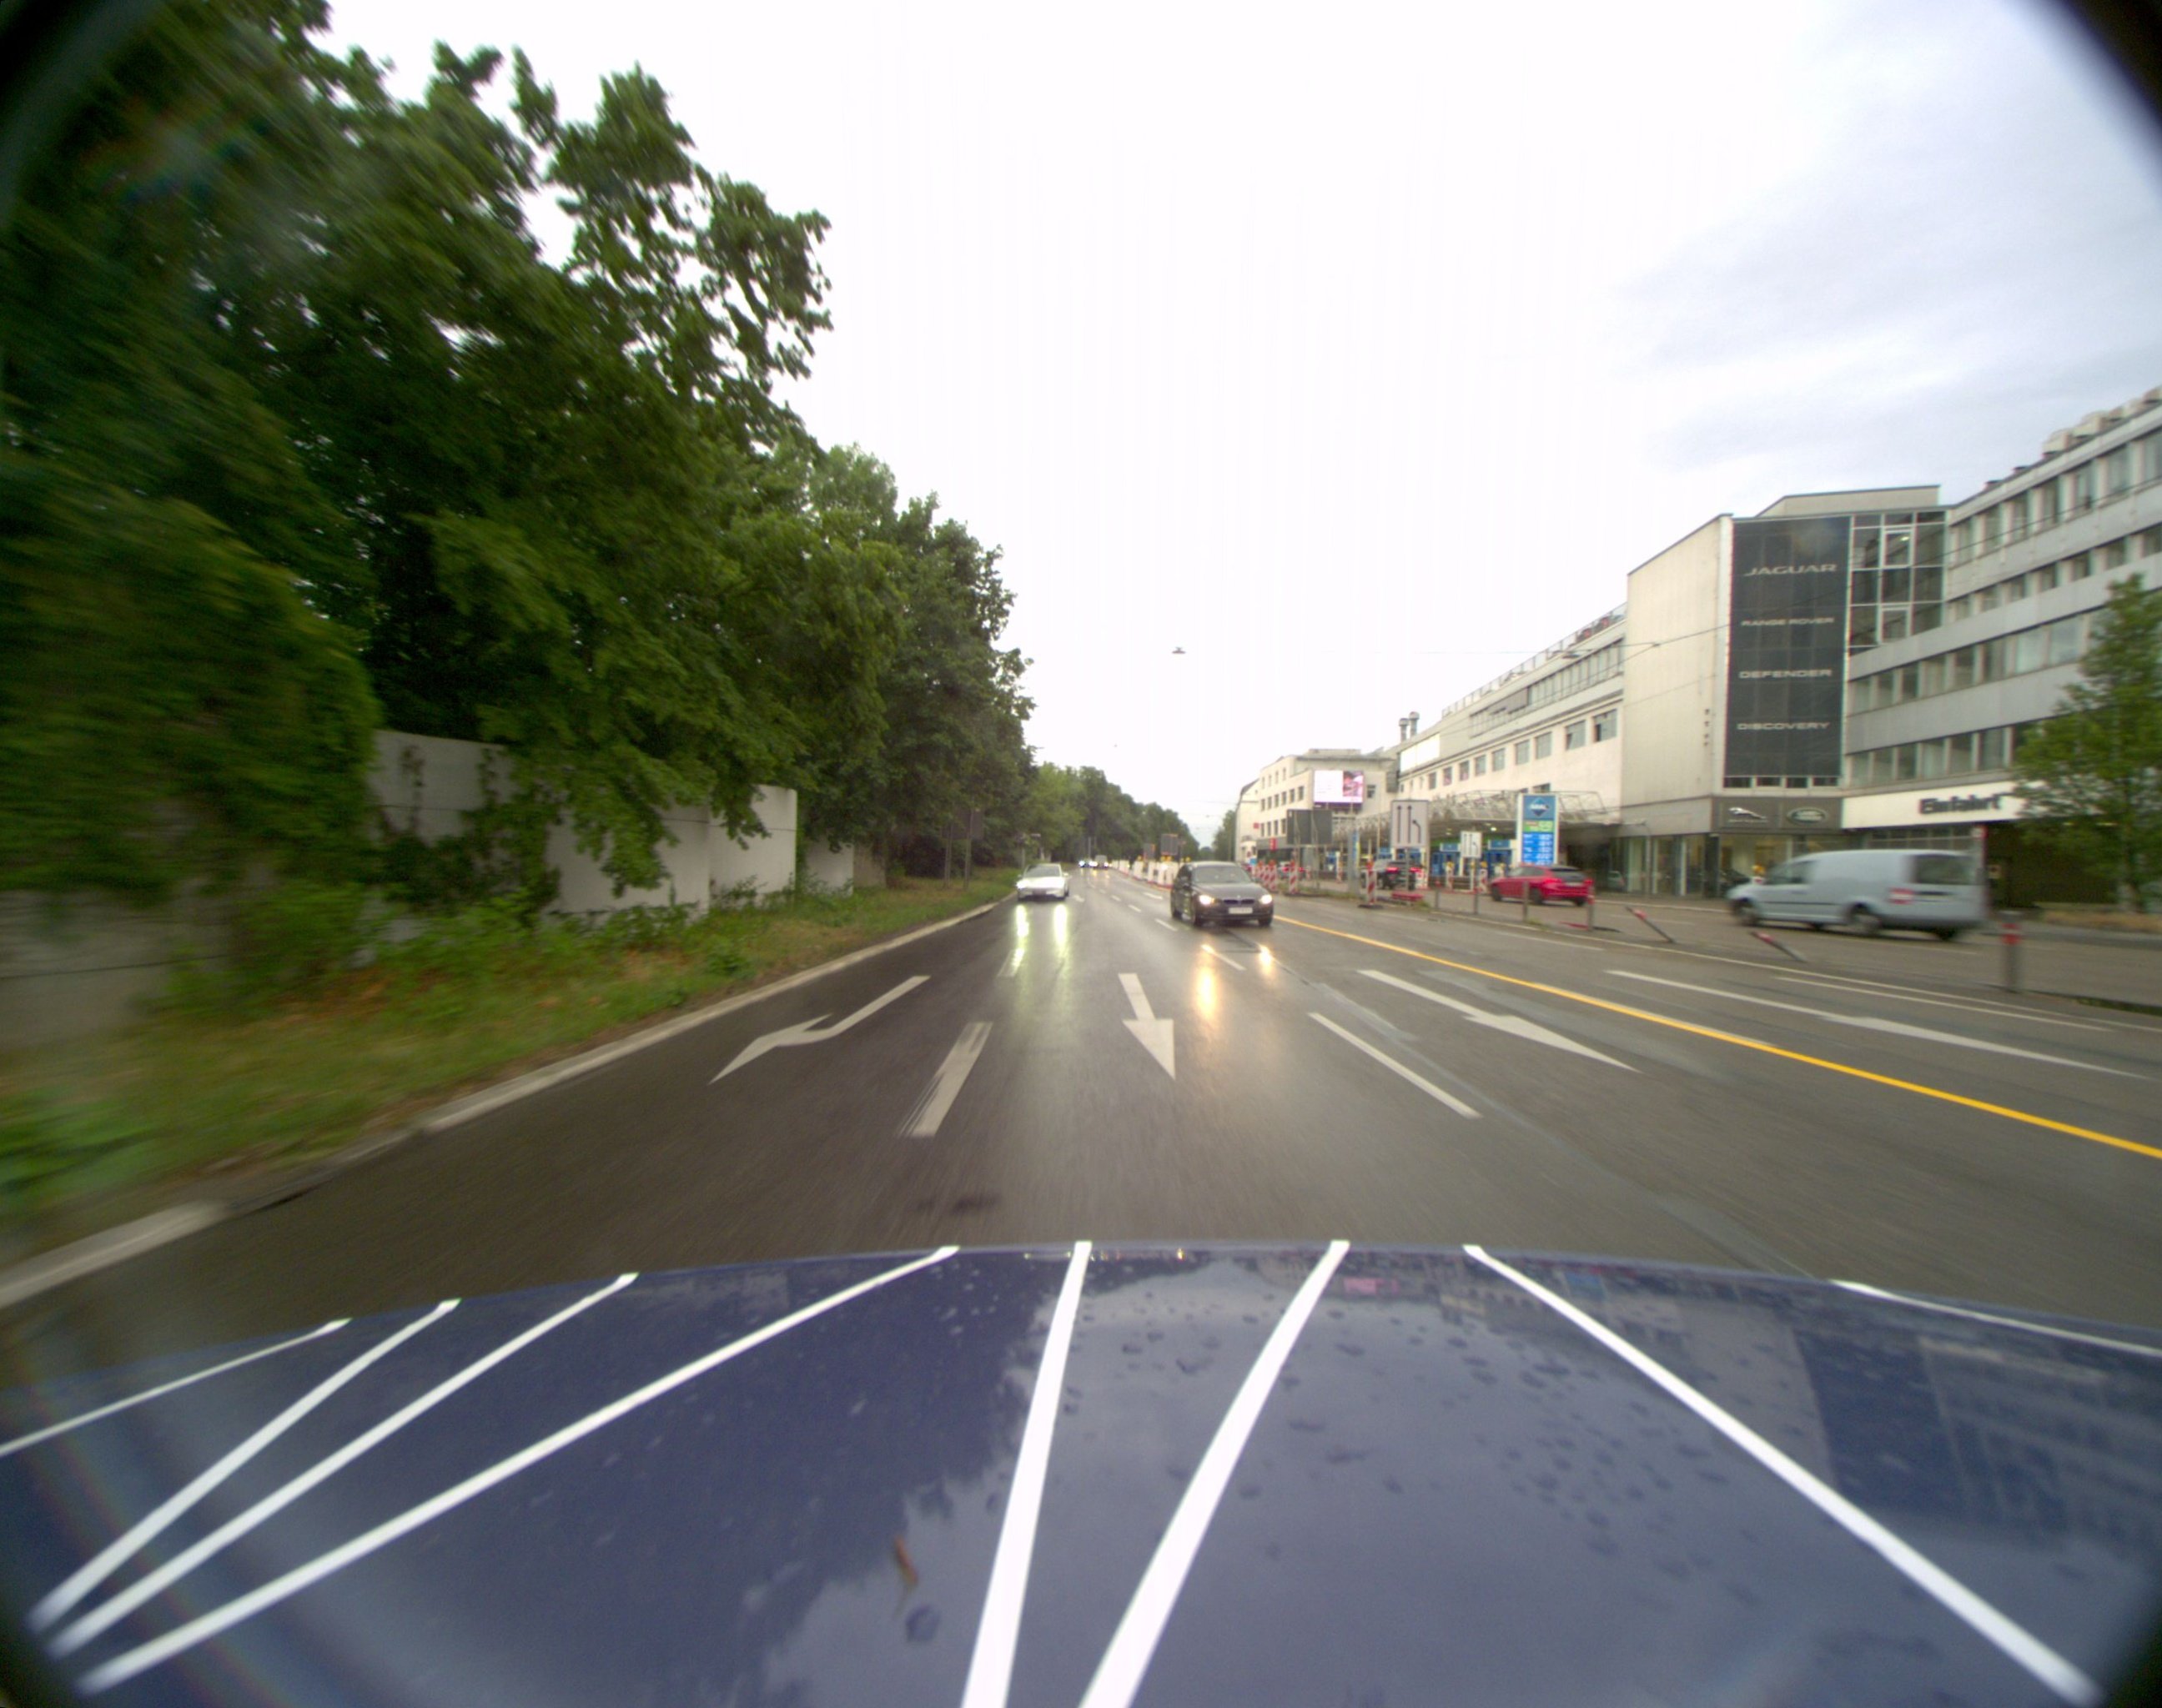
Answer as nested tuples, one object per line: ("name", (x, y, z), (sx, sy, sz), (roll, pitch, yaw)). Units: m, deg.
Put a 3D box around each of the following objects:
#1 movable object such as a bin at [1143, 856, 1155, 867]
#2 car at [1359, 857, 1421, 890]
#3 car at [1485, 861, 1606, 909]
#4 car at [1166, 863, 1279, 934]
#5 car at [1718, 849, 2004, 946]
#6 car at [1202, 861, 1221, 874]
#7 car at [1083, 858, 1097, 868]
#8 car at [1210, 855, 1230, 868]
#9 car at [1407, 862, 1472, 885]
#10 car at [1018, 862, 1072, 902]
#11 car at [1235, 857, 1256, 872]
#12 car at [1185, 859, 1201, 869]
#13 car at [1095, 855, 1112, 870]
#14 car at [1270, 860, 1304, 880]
("movable object such as a bin", (13.612, 1.561, 151.708), (1.997, 2.099, 3.853), (2, -1, 9))
("car", (17.287, 1.049, 42.722), (1.849, 1.727, 4.606), (1, 0, 4))
("car", (16.917, 1.072, 27.965), (1.834, 1.493, 4.373), (2, 0, 2))
("car", (3.289, 0.983, 18.450), (1.764, 1.441, 4.176), (1, 0, -3))
("car", (16.486, 0.817, 16.460), (1.738, 1.775, 4.301), (2, 0, 1))
("car", (14.951, 1.521, 87.004), (1.692, 1.346, 4.116), (2, 0, 4))
("car", (1.358, 1.333, 113.140), (1.741, 1.477, 3.919), (-2, 0, 3))
("car", (20.640, 1.102, 113.047), (1.984, 1.697, 4.831), (1, 0, 1))
("car", (30.372, 1.636, 64.407), (4.465, 1.669, 2.019), (3, 0, 42))
("car", (-1.401, 1.098, 31.147), (1.839, 1.424, 4.273), (-2, 0, 2))
("car", (18.755, 1.180, 86.923), (1.755, 1.505, 4.001), (2, 1, 4))
("car", (17.404, 1.579, 118.220), (1.740, 1.396, 4.289), (1, 0, 1))
("car", (2.817, 0.997, 94.268), (1.998, 1.739, 4.001), (2, 0, 3))
("car", (17.145, 1.312, 63.388), (1.812, 1.549, 4.301), (1, 0, 2))
